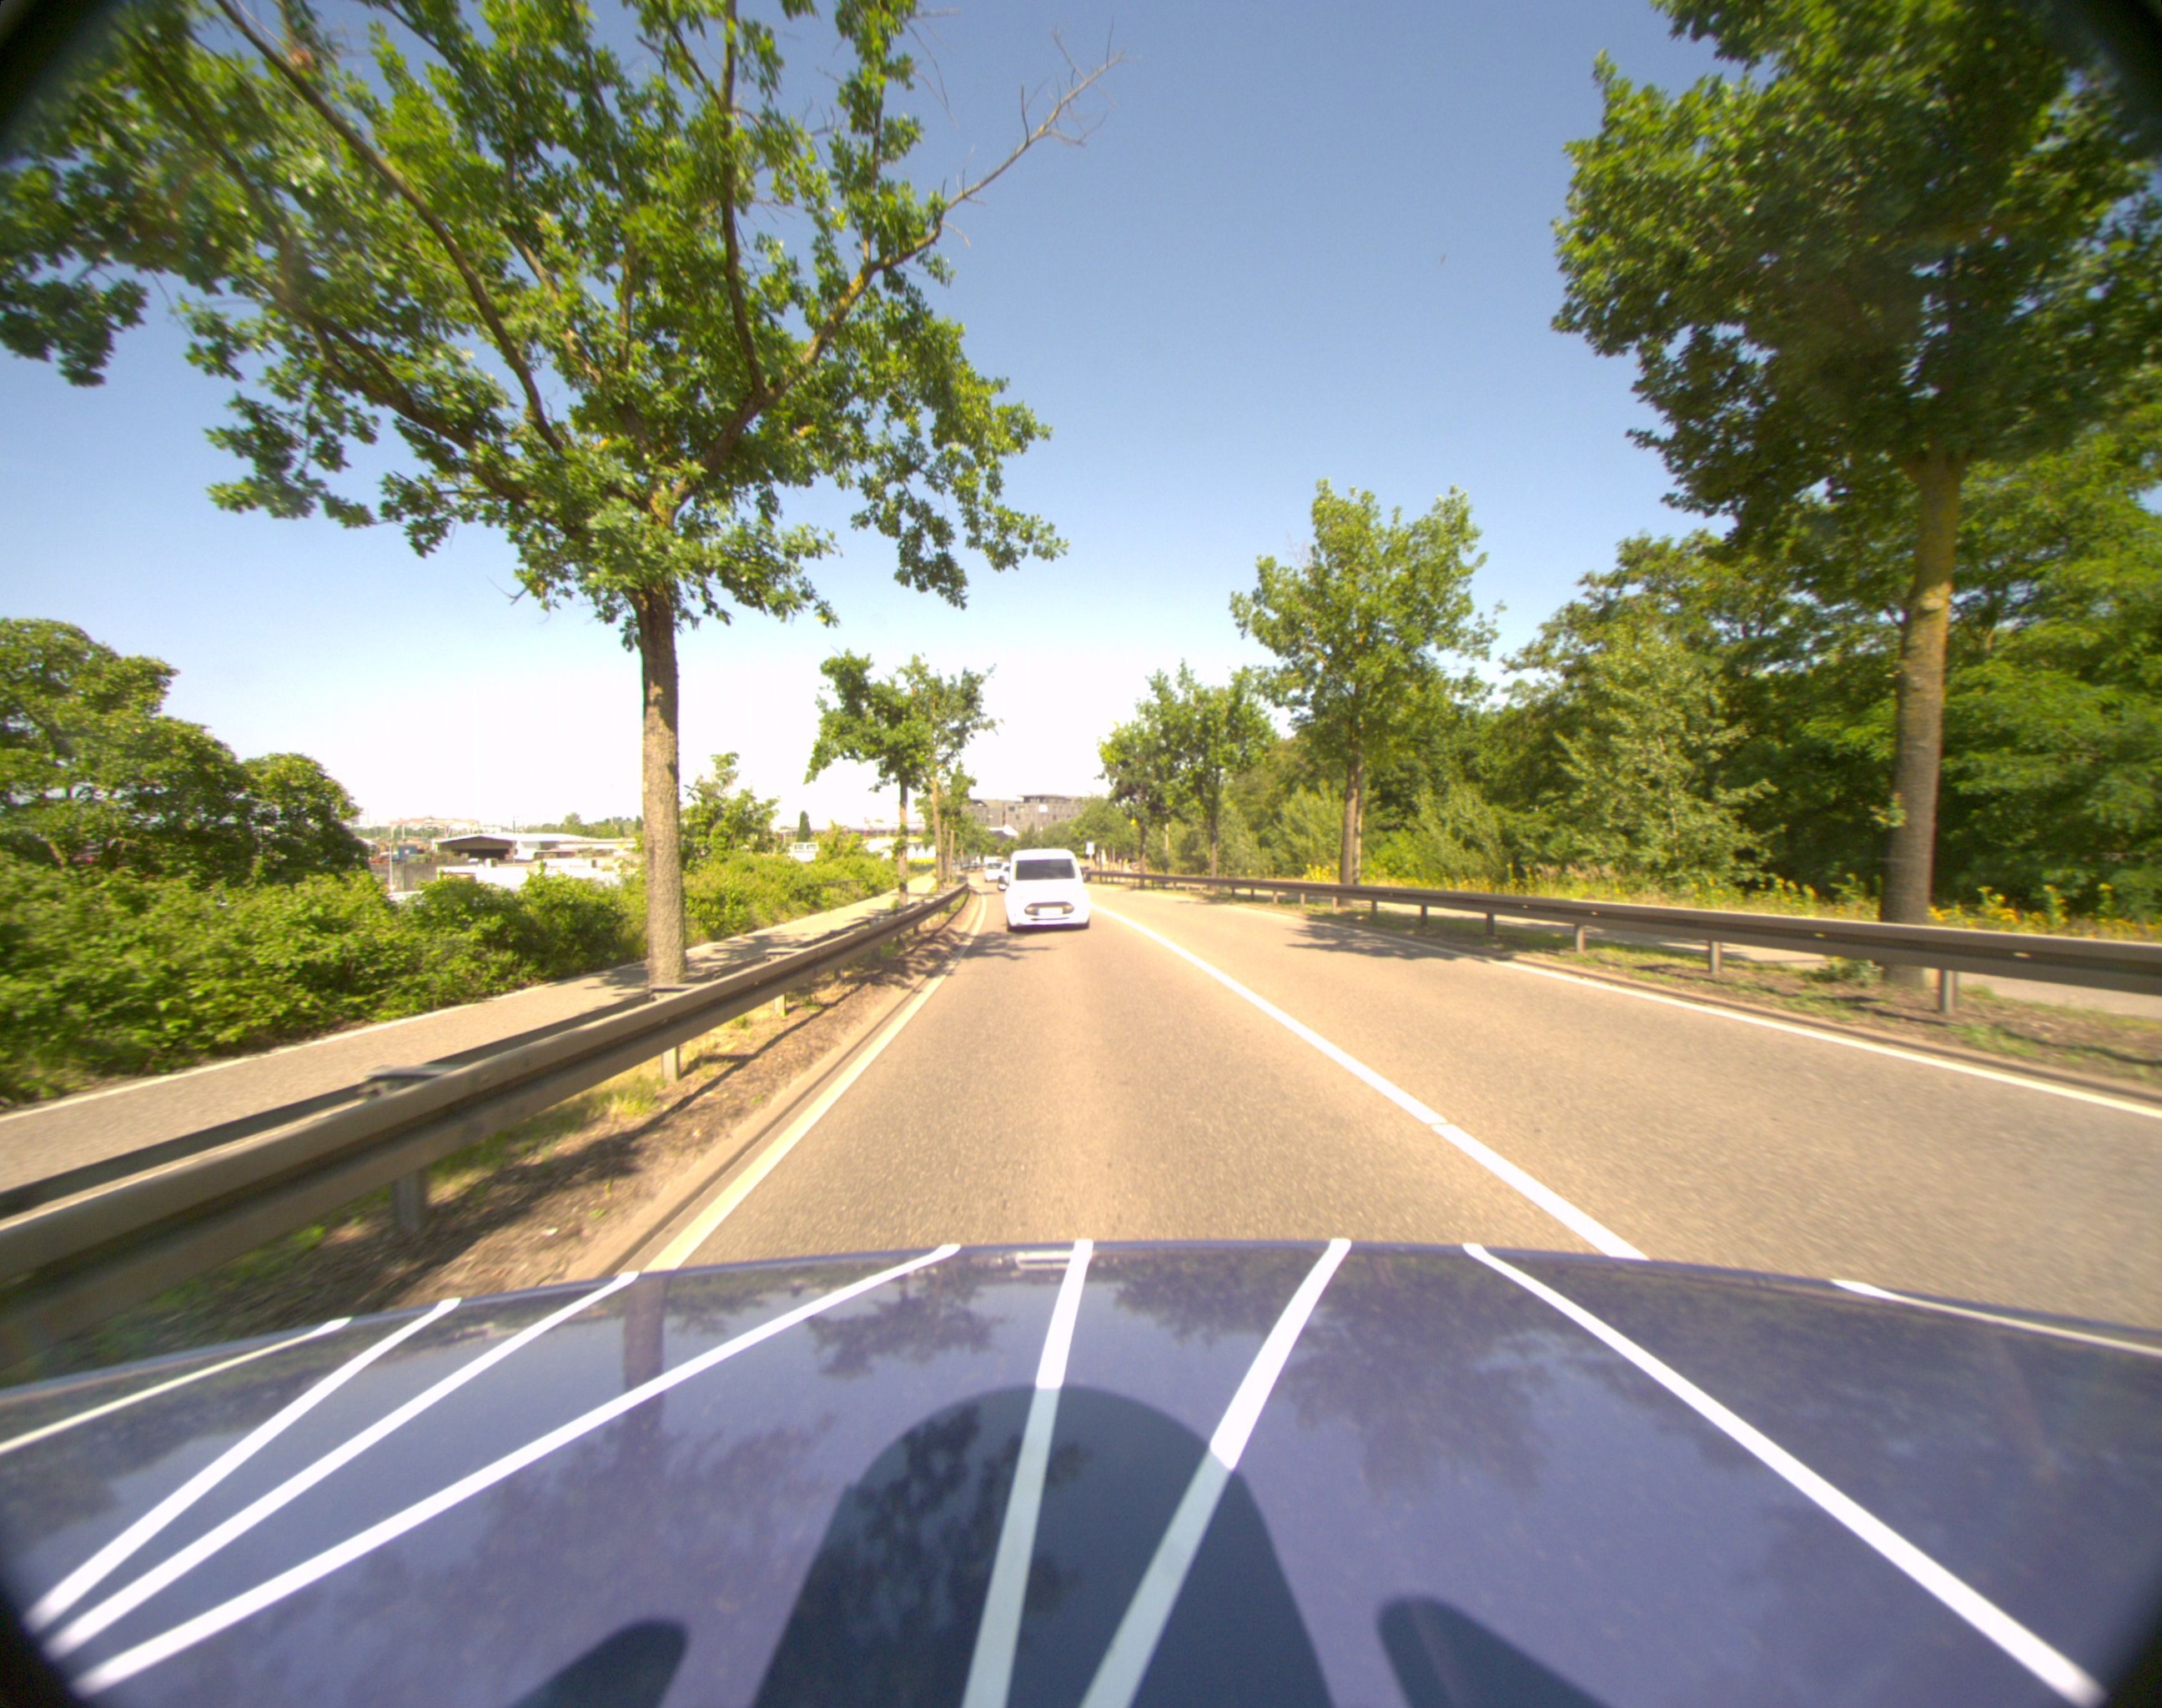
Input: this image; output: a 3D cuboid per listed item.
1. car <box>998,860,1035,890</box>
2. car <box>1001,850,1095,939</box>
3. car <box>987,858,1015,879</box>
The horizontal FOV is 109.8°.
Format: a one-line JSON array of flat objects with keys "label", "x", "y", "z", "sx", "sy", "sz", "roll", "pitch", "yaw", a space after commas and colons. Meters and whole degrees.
[{"label": "car", "x": -3.581, "y": 1.135, "z": 41.778, "sx": 1.847, "sy": 1.479, "sz": 4.149, "roll": -2, "pitch": 0, "yaw": -7}, {"label": "car", "x": -0.827, "y": 0.831, "z": 17.966, "sx": 1.898, "sy": 1.785, "sz": 4.446, "roll": -2, "pitch": 0, "yaw": -4}, {"label": "car", "x": -6.434, "y": 1.142, "z": 60.622, "sx": 2.000, "sy": 1.575, "sz": 3.997, "roll": -2, "pitch": 0, "yaw": -8}]
